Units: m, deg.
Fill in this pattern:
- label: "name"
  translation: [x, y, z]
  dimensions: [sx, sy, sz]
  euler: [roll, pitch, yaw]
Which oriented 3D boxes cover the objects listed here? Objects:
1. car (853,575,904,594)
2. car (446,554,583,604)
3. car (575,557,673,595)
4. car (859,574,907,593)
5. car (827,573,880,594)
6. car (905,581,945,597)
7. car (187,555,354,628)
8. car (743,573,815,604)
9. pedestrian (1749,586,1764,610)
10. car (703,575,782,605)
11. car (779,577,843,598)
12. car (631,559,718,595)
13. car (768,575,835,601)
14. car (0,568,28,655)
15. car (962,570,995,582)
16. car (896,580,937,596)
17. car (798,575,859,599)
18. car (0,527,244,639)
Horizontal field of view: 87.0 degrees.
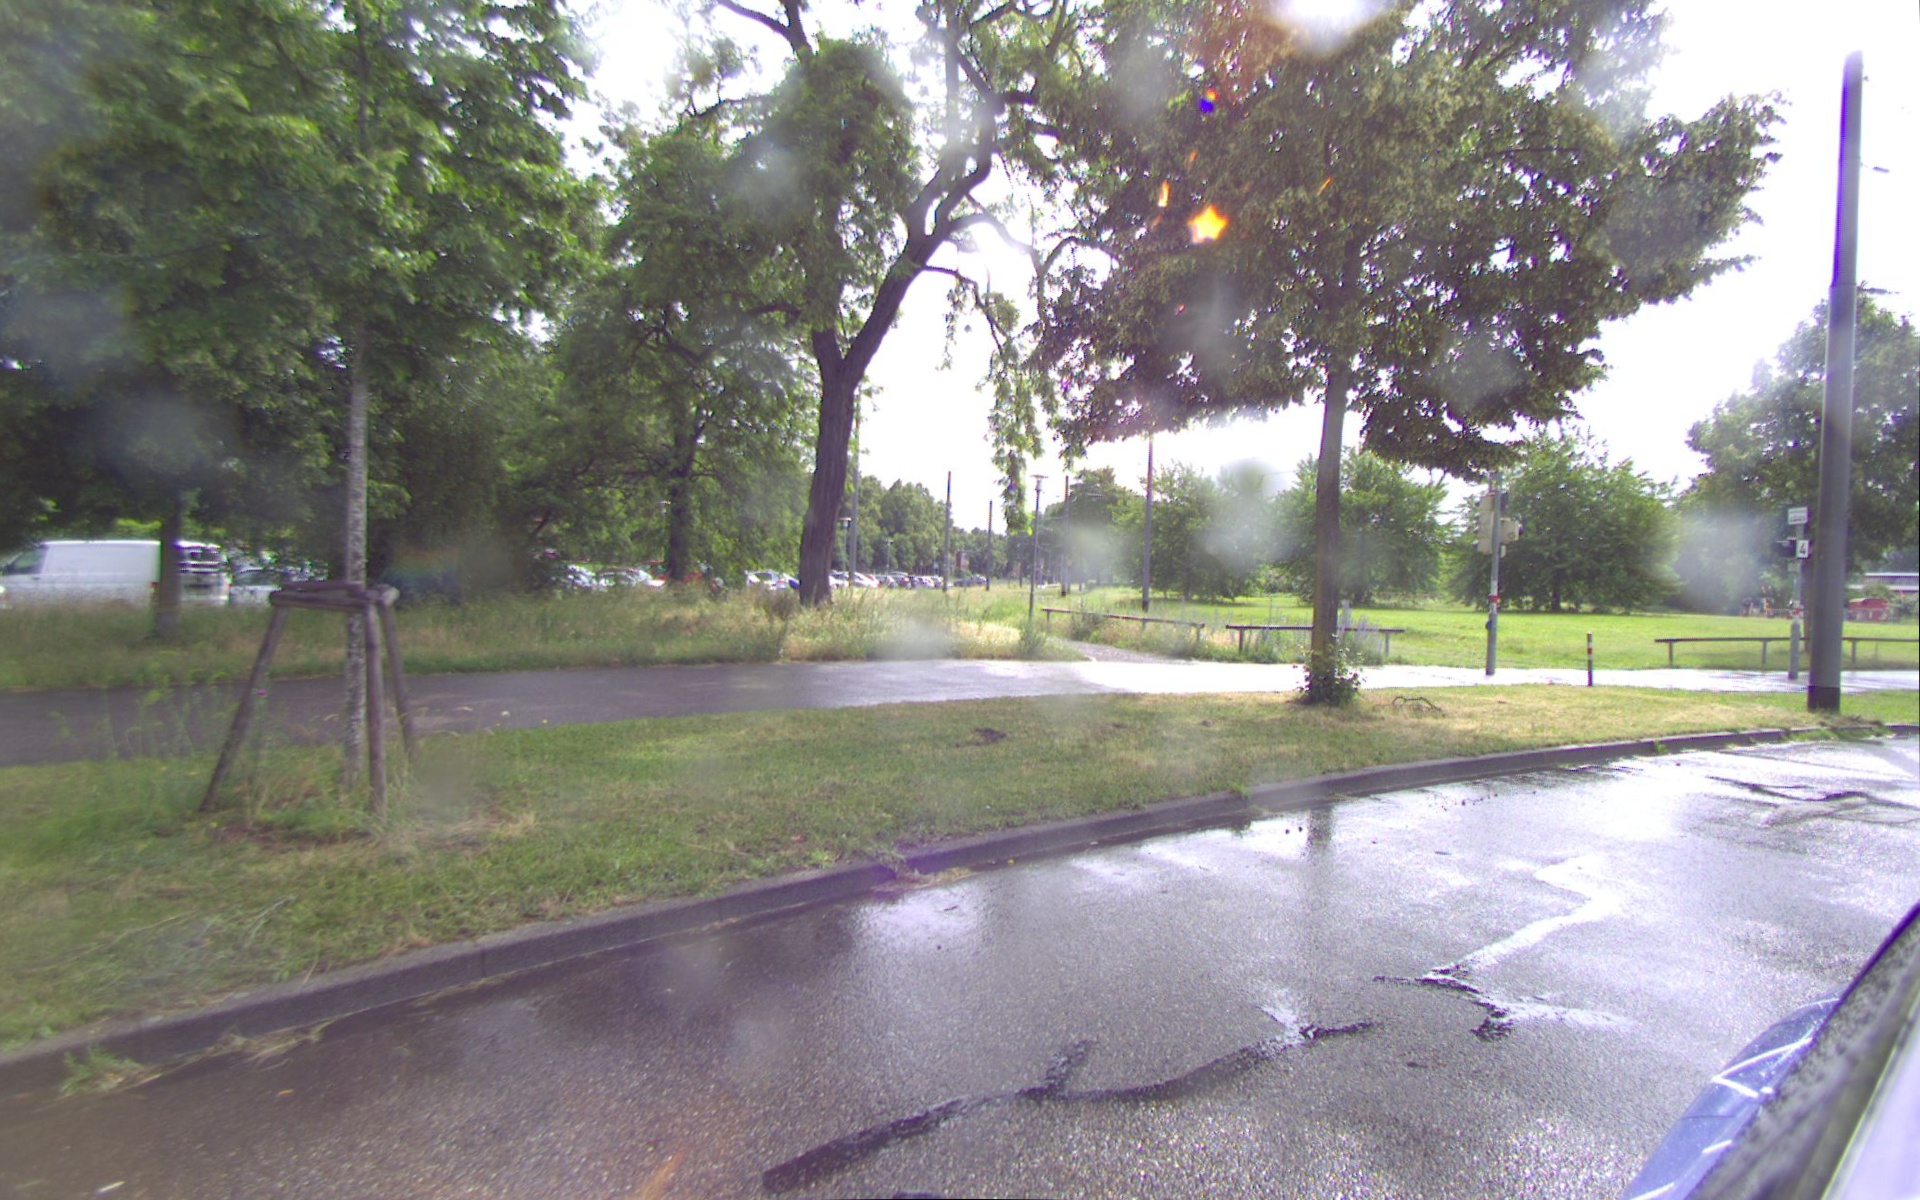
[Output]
- label: "car"
  translation: [-6.917, -1.321, 85.932]
  dimensions: [3.915, 1.579, 1.845]
  euler: [2, 1, 10]
- label: "car"
  translation: [-15.211, -0.716, 34.624]
  dimensions: [3.915, 1.579, 1.845]
  euler: [2, 1, 10]
- label: "car"
  translation: [-14.025, -1.003, 42.262]
  dimensions: [3.556, 1.480, 1.639]
  euler: [2, 1, 13]
- label: "car"
  translation: [-6.839, -1.441, 90.038]
  dimensions: [3.915, 1.579, 1.845]
  euler: [2, 1, 10]
- label: "car"
  translation: [-8.655, -1.338, 82.170]
  dimensions: [3.915, 1.579, 1.845]
  euler: [2, 1, 10]
- label: "car"
  translation: [-3.682, -1.215, 107.268]
  dimensions: [3.915, 1.579, 1.845]
  euler: [2, 1, 10]
- label: "car"
  translation: [-17.254, -0.239, 25.348]
  dimensions: [3.549, 1.684, 1.522]
  euler: [2, 1, 15]
- label: "car"
  translation: [-11.060, -0.716, 61.951]
  dimensions: [3.937, 1.736, 1.994]
  euler: [2, 1, 11]
- label: "pedestrian"
  translation: [58.914, -0.132, 74.890]
  dimensions: [0.595, 1.754, 0.598]
  euler: [2, -1, 7]
- label: "car"
  translation: [-12.201, -0.566, 56.807]
  dimensions: [3.935, 1.547, 1.794]
  euler: [2, 1, 10]
- label: "car"
  translation: [-10.155, -0.834, 69.134]
  dimensions: [3.915, 1.324, 1.845]
  euler: [2, 1, 10]
- label: "car"
  translation: [-13.326, -1.081, 47.265]
  dimensions: [3.598, 1.529, 1.642]
  euler: [2, 1, 16]
- label: "car"
  translation: [-10.392, -0.788, 66.413]
  dimensions: [3.915, 1.579, 1.845]
  euler: [2, 1, 10]
- label: "car"
  translation: [-18.837, 0.165, 18.008]
  dimensions: [3.566, 1.528, 1.602]
  euler: [2, 1, 13]
- label: "car"
  translation: [2.576, -3.308, 142.093]
  dimensions: [4.333, 1.579, 1.845]
  euler: [2, 1, 10]
- label: "car"
  translation: [-4.462, -1.269, 104.902]
  dimensions: [3.915, 1.579, 1.845]
  euler: [2, 1, 10]
- label: "car"
  translation: [-9.319, -0.934, 71.792]
  dimensions: [3.915, 1.579, 1.845]
  euler: [2, 1, 10]
- label: "car"
  translation: [-18.369, -0.427, 21.710]
  dimensions: [5.085, 2.083, 2.105]
  euler: [3, 2, 14]
